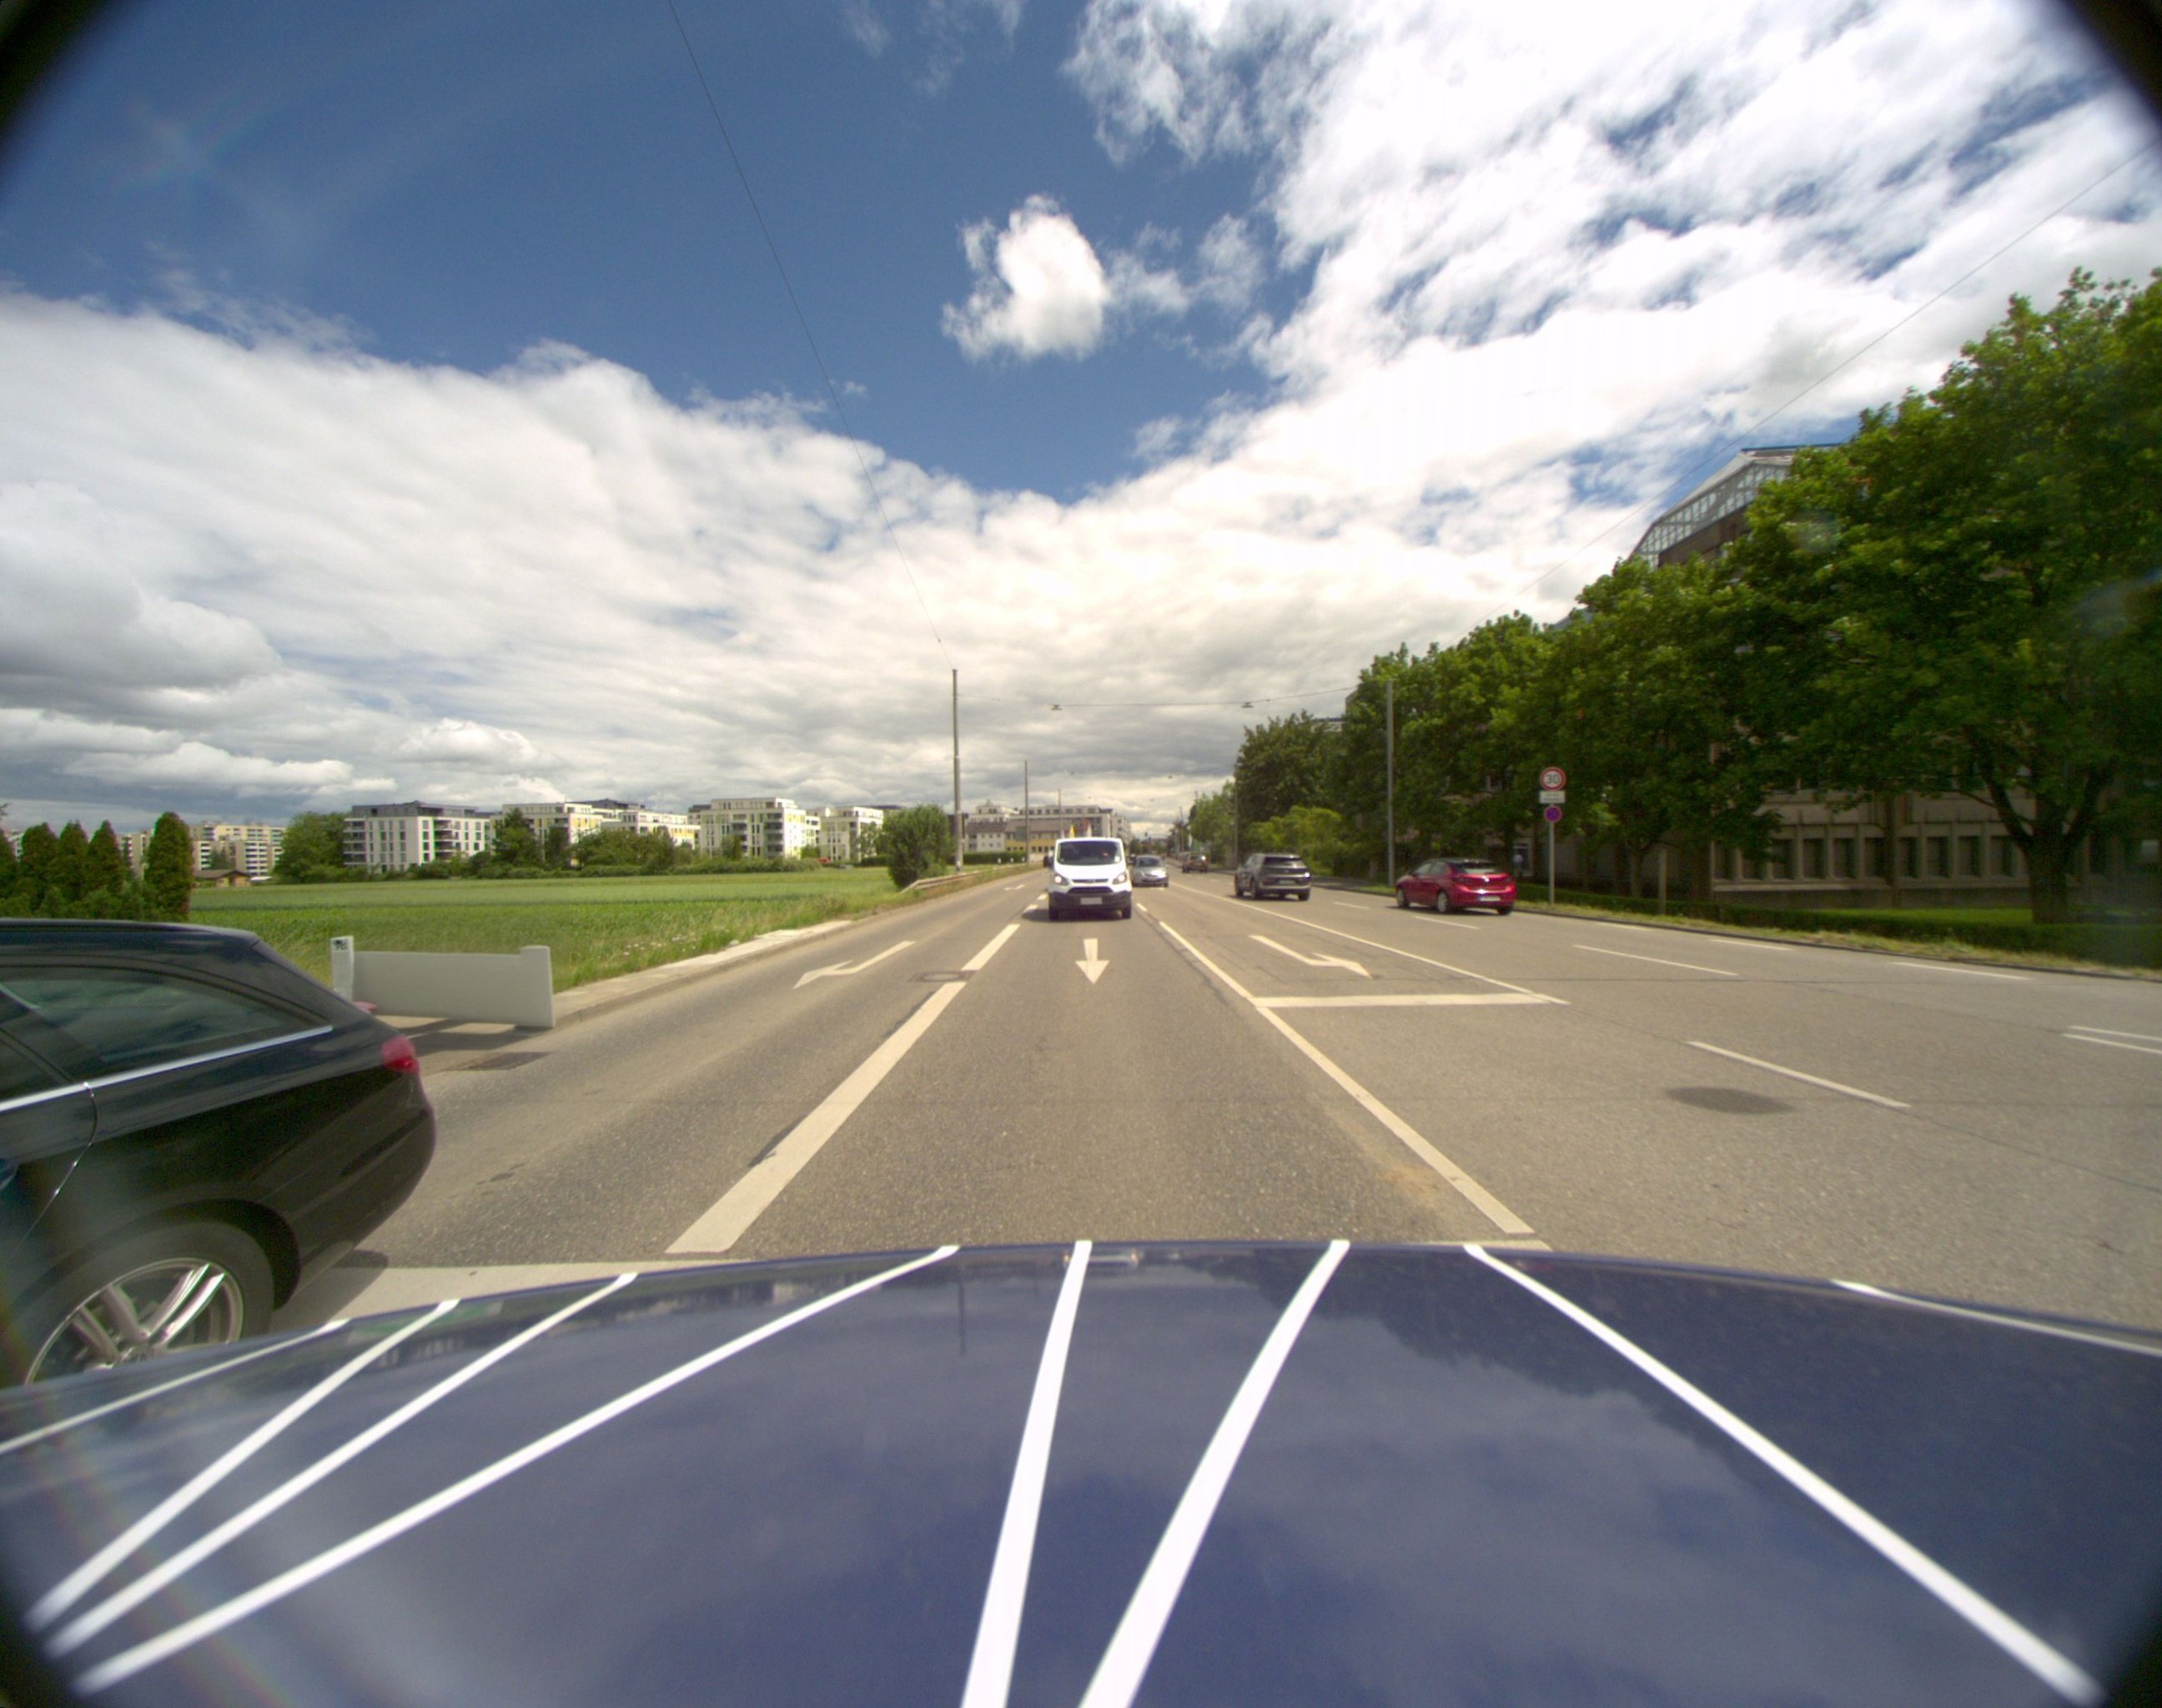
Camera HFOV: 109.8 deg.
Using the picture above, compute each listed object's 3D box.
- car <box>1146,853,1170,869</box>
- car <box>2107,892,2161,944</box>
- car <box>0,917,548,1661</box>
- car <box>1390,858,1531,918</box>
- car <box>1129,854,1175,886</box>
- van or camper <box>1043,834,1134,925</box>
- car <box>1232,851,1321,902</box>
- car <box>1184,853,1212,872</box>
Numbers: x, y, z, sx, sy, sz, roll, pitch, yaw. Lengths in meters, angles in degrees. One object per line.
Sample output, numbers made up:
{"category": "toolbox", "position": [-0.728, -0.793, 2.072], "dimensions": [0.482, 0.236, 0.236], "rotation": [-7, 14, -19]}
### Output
{"category": "car", "position": [7.081, 0.612, 69.898], "dimensions": [1.800, 1.445, 4.000], "rotation": [0, 0, 0]}
{"category": "car", "position": [29.034, 1.641, 19.683], "dimensions": [3.174, 1.198, 1.534], "rotation": [-2, 1, -6]}
{"category": "car", "position": [-3.245, 1.016, 0.640], "dimensions": [1.877, 1.432, 5.199], "rotation": [-1, 0, 0]}
{"category": "car", "position": [9.986, 0.830, 20.355], "dimensions": [1.784, 1.407, 3.999], "rotation": [0, 1, 0]}
{"category": "car", "position": [3.435, 0.767, 37.436], "dimensions": [1.894, 1.433, 4.000], "rotation": [-1, 0, 1]}
{"category": "van or camper", "position": [0.183, 0.563, 20.077], "dimensions": [1.998, 2.002, 5.799], "rotation": [-1, 0, 0]}
{"category": "car", "position": [6.677, 0.704, 26.441], "dimensions": [1.998, 1.608, 4.306], "rotation": [-1, 0, 0]}
{"category": "car", "position": [10.153, 0.703, 66.245], "dimensions": [1.897, 1.587, 4.000], "rotation": [0, 1, 1]}
